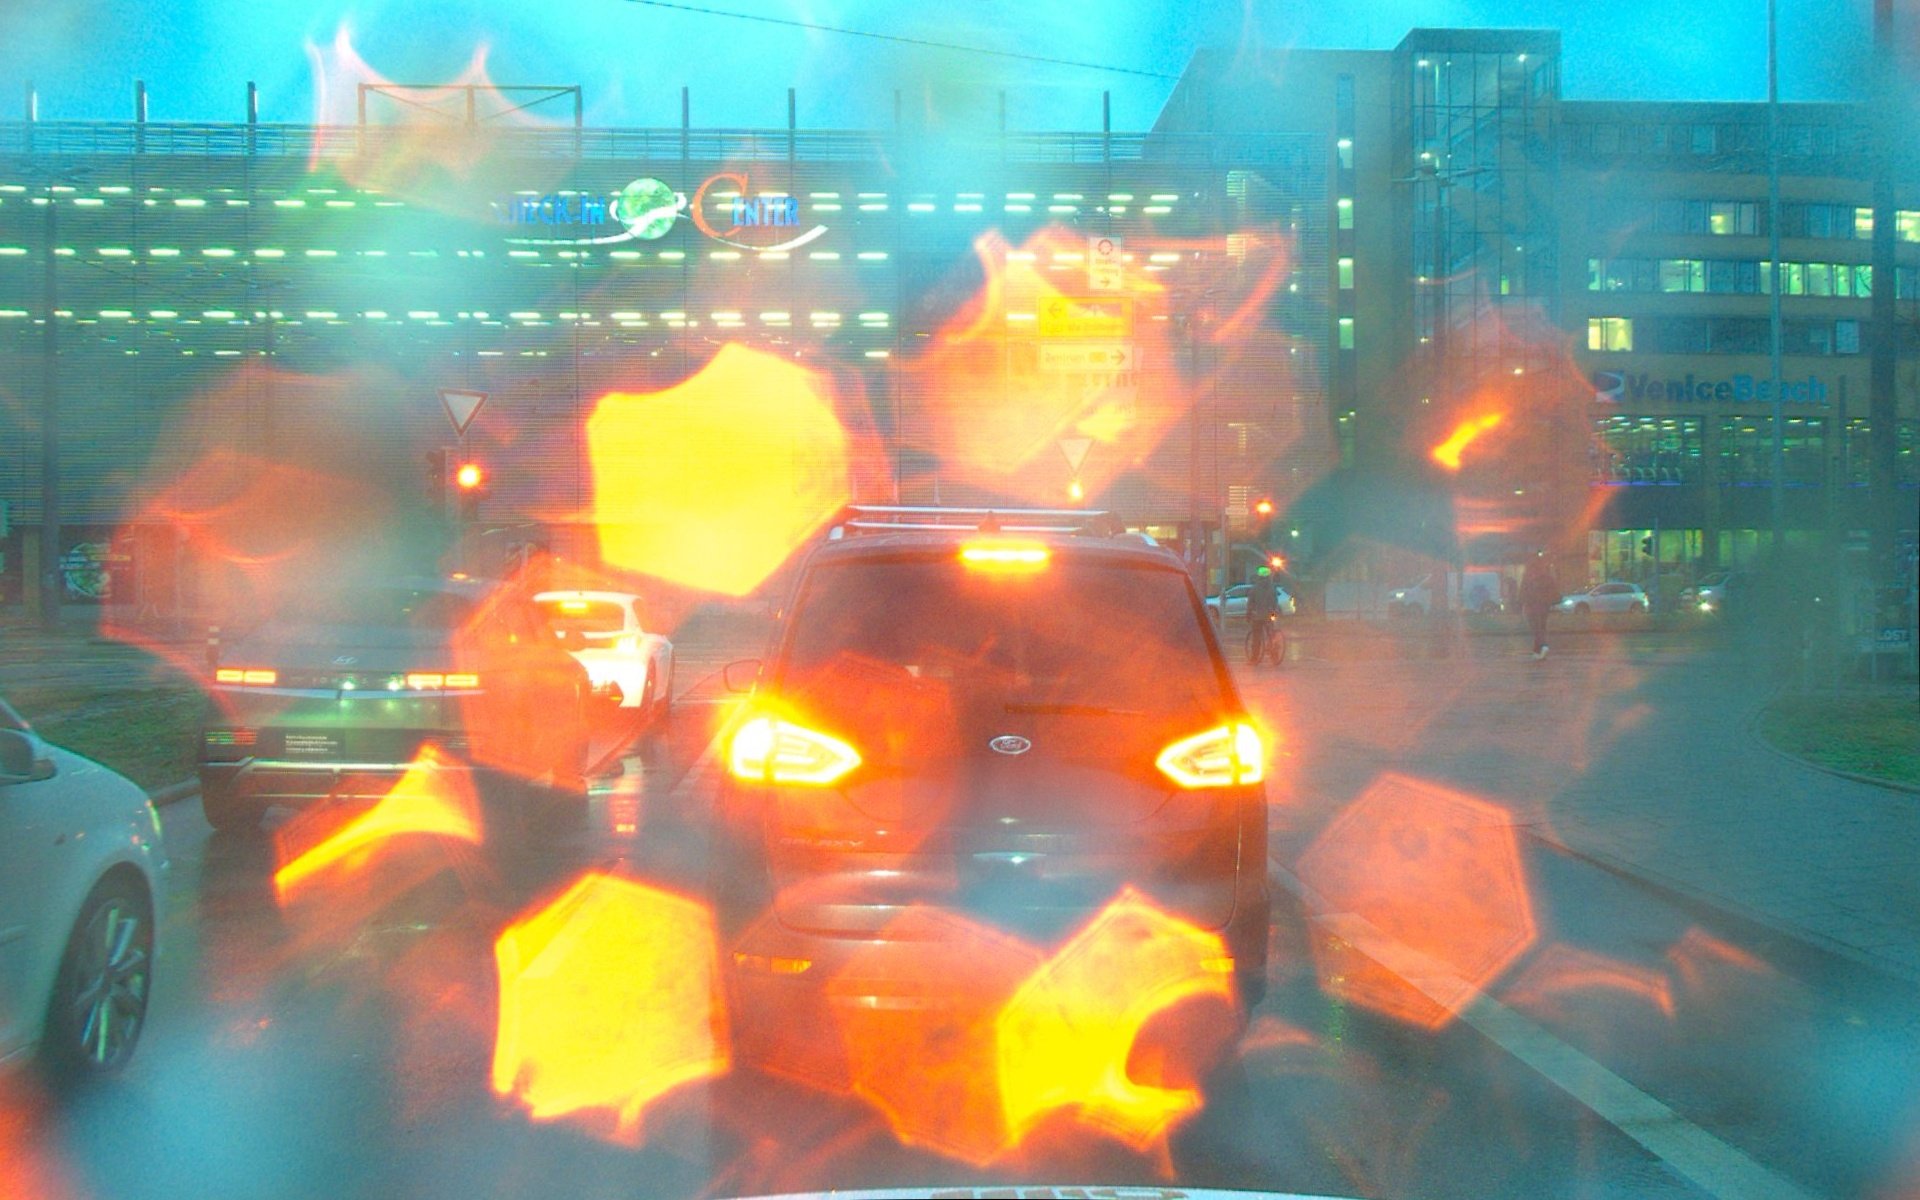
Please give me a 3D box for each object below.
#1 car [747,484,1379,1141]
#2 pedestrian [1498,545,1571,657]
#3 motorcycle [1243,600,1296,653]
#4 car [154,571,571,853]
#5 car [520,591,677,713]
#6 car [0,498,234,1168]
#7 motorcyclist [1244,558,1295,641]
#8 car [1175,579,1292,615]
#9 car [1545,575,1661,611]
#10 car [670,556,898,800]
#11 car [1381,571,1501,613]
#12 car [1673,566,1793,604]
[{"bbox_3d":[0.185,0.577,6.687,1.700,1.768,4.244,2,0,-3],"label":"car"},{"bbox_3d":[10.409,0.003,29.970,1.146,1.957,0.898,2,0,22],"label":"pedestrian"},{"bbox_3d":[5.927,0.494,31.731,0.835,0.989,1.582,0,0,5],"label":"motorcycle"},{"bbox_3d":[-3.888,0.630,11.484,1.718,1.601,3.996,0,0,-5],"label":"car"},{"bbox_3d":[-4.140,0.535,19.399,1.512,1.273,4.060,0,0,-8],"label":"car"},{"bbox_3d":[-3.181,0.572,3.448,1.637,1.689,4.146,2,1,-3],"label":"car"},{"bbox_3d":[5.930,-0.008,31.746,0.850,1.561,1.109,0,0,5],"label":"motorcyclist"},{"bbox_3d":[10.983,-0.135,66.591,4.336,1.414,1.797,-1,0,-8],"label":"car"},{"bbox_3d":[26.689,-0.293,68.707,4.136,1.414,1.797,-1,0,-8],"label":"car"},{"bbox_3d":[-1.415,0.561,13.665,1.604,1.726,3.667,1,0,-5],"label":"car"},{"bbox_3d":[19.550,-0.329,67.297,4.336,1.623,1.797,-1,0,-8],"label":"car"},{"bbox_3d":[32.708,-0.644,70.019,4.348,1.561,1.797,-1,0,-8],"label":"car"}]
